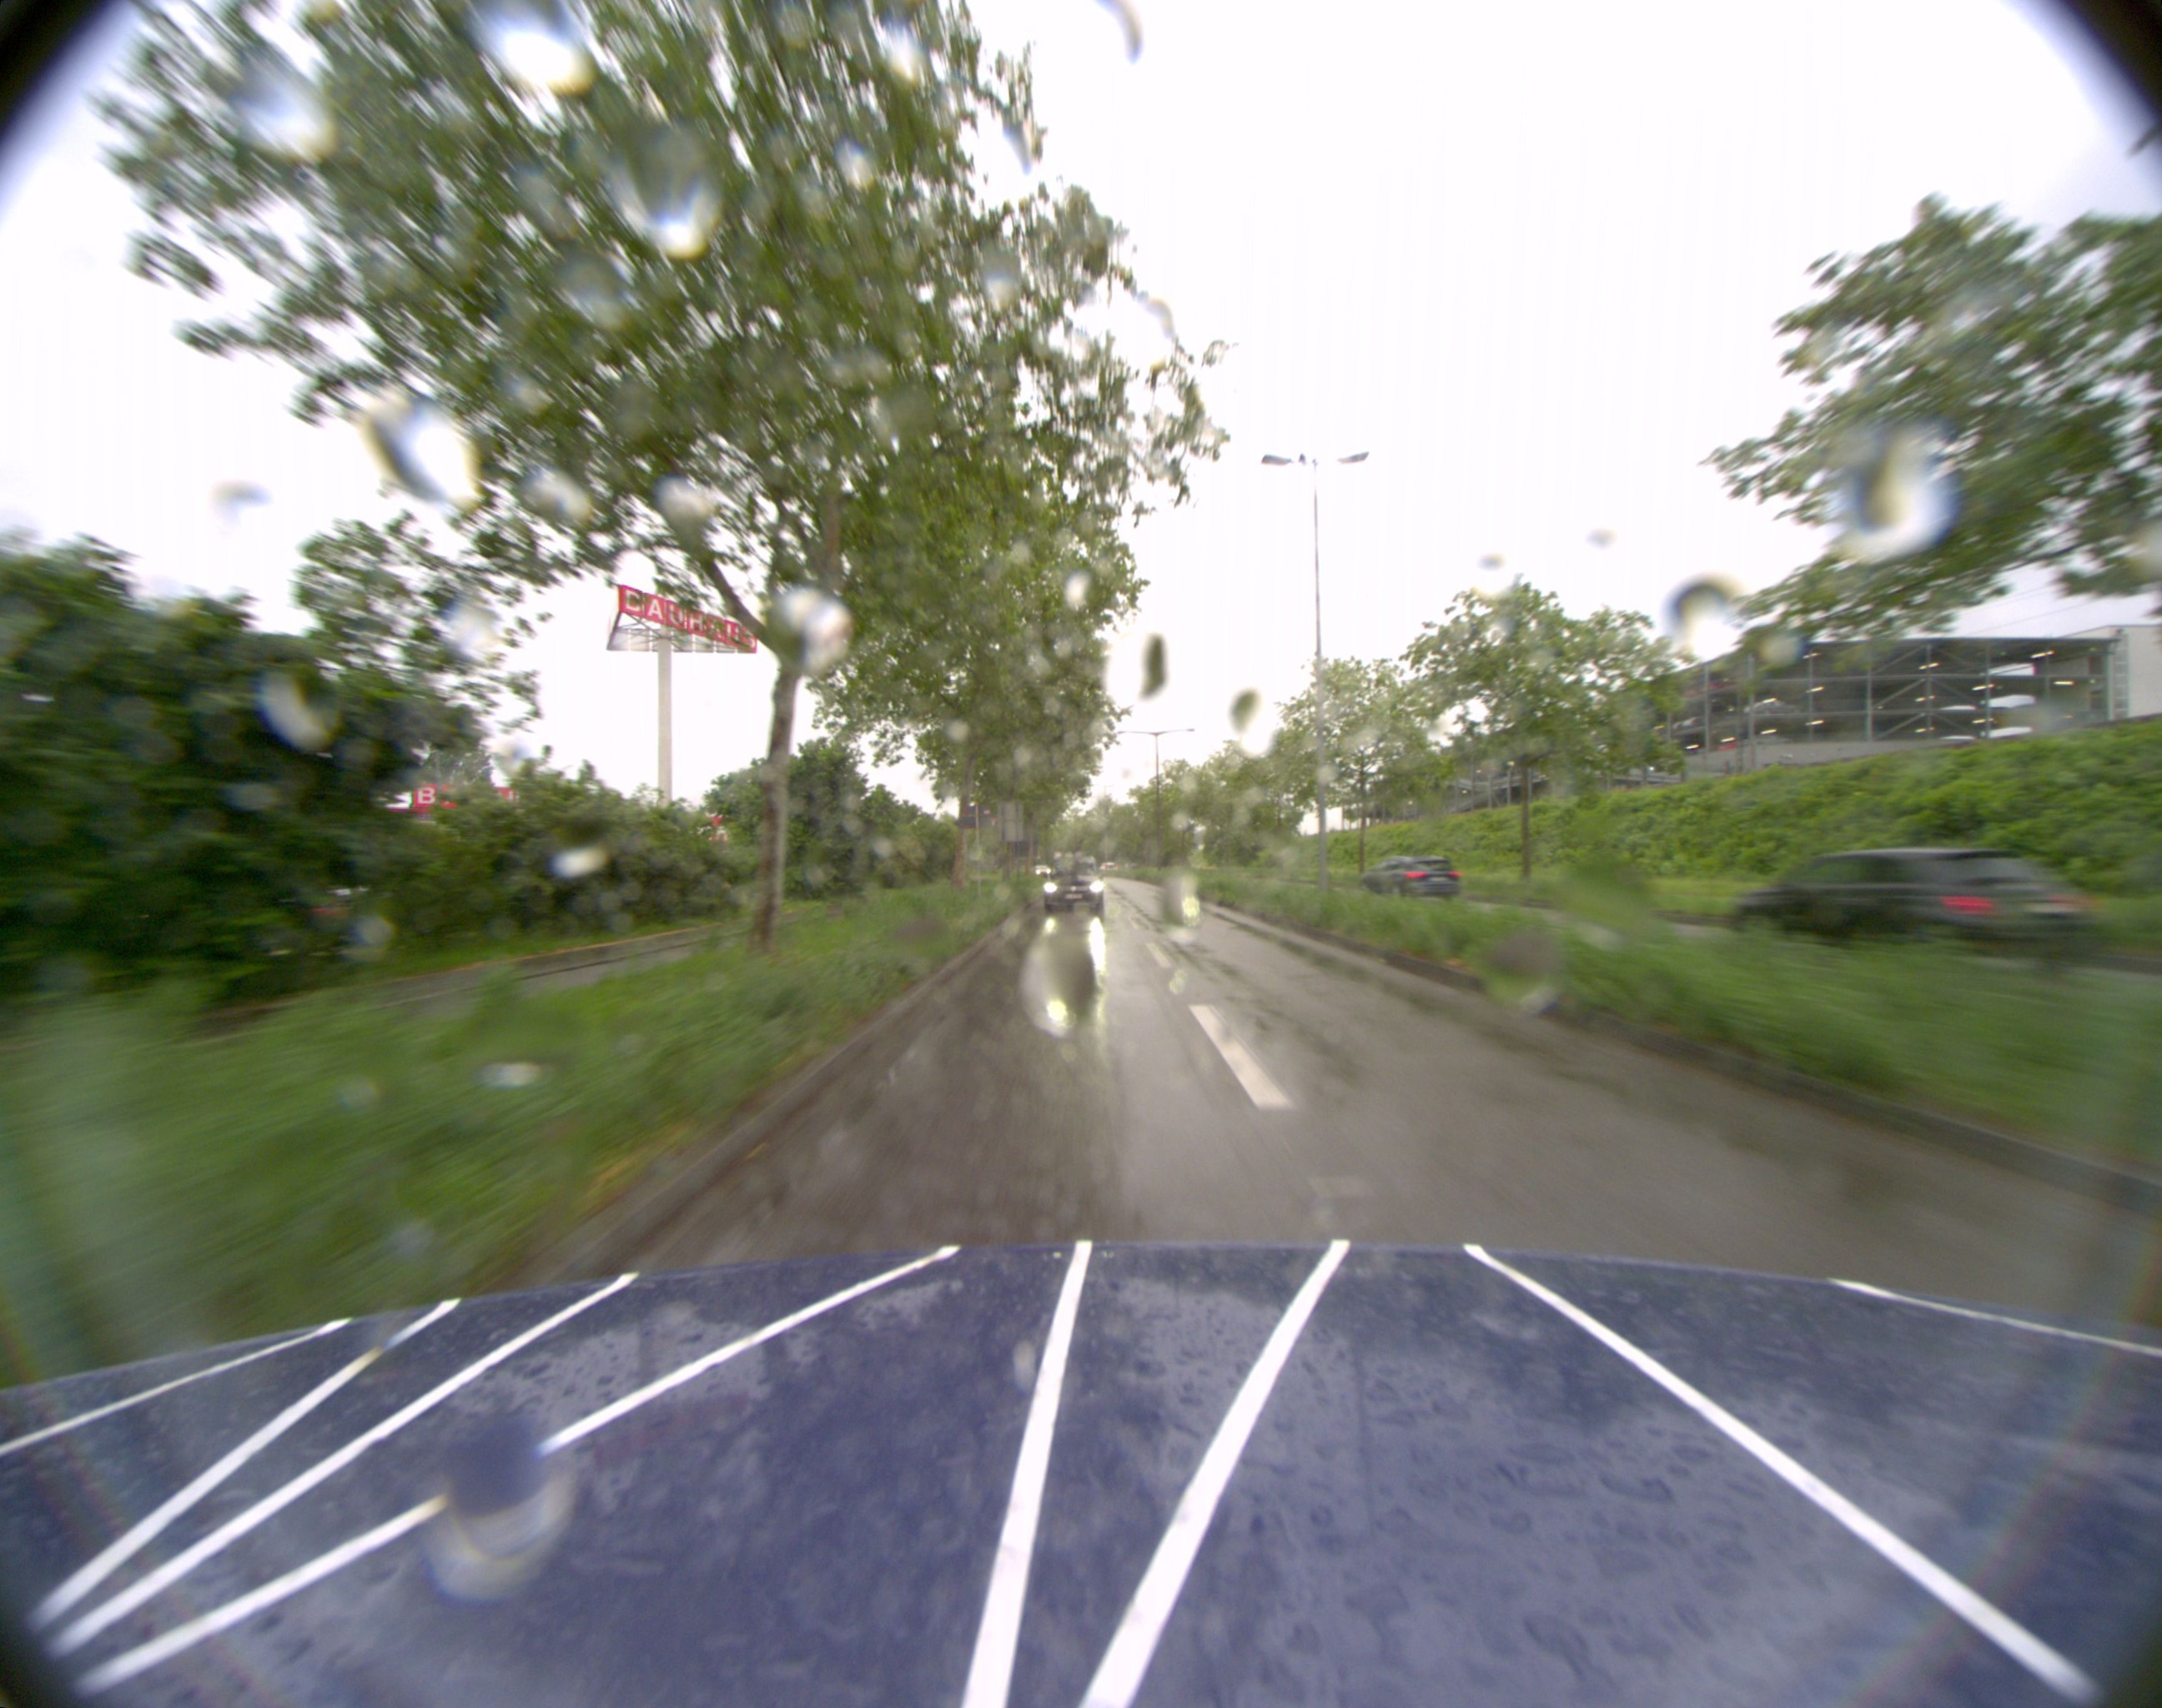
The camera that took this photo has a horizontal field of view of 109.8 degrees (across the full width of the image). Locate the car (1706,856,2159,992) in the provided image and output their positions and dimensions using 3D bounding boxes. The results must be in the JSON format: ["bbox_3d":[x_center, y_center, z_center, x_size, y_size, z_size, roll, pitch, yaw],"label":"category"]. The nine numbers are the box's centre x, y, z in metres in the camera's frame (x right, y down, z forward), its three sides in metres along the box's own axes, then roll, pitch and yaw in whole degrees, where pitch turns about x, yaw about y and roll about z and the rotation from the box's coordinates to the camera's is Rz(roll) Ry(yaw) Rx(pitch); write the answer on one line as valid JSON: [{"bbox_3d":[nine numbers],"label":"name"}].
[{"bbox_3d":[10.878,0.777,10.199,1.936,1.436,3.707,-2,0,1],"label":"car"}]

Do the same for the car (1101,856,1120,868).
[{"bbox_3d":[3.768,0.993,97.183,1.707,1.486,4.201,-2,0,-9],"label":"car"}]

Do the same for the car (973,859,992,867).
[{"bbox_3d":[-22.443,2.077,173.216,1.860,1.650,4.007,-1,1,40],"label":"car"}]

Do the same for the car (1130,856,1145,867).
[{"bbox_3d":[7.104,0.947,96.016,1.635,1.417,4.000,-2,0,0],"label":"car"}]

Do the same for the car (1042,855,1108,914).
[{"bbox_3d":[-0.100,0.878,24.437,1.788,1.605,4.717,-3,0,3],"label":"car"}]

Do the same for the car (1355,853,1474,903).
[{"bbox_3d":[10.691,0.721,24.767,1.936,1.436,4.496,-2,0,1],"label":"car"}]
